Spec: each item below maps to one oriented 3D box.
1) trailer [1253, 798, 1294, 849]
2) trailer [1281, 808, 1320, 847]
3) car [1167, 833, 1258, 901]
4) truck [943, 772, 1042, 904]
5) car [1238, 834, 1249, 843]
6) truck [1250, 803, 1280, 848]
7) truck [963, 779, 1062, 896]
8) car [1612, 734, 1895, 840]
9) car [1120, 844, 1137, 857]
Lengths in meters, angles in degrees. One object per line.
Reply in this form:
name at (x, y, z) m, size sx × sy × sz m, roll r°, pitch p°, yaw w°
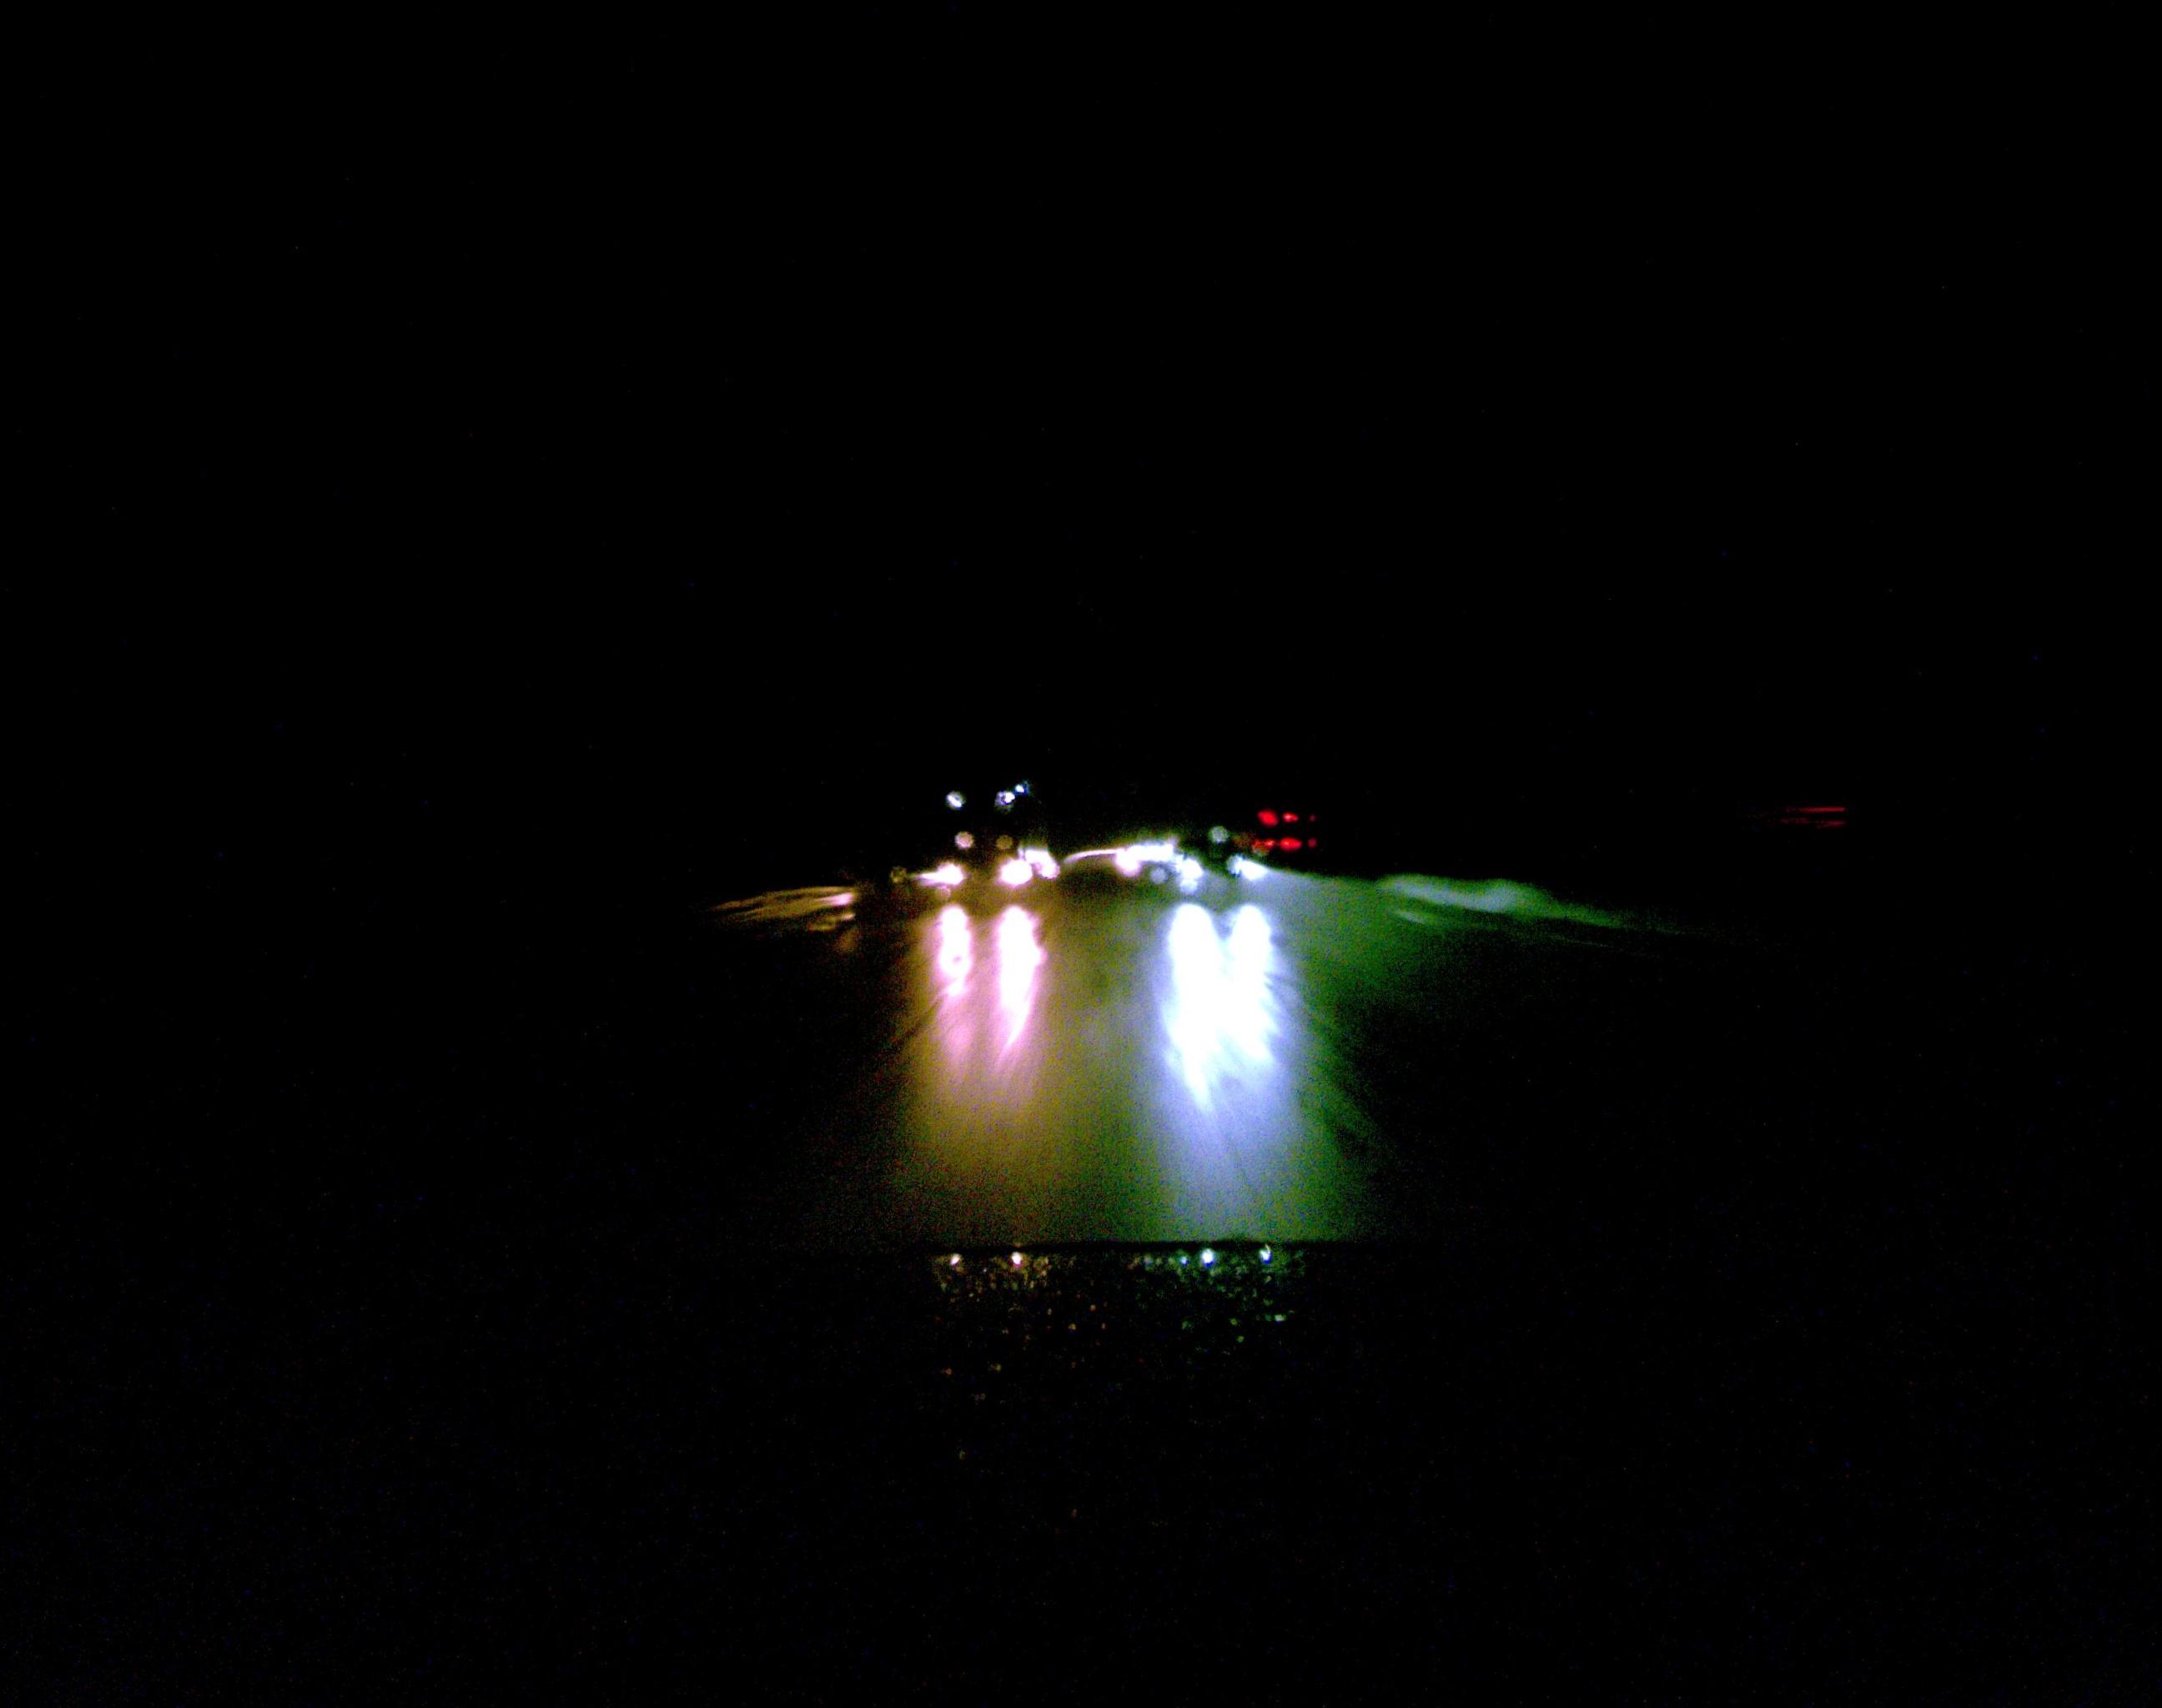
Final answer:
trailer at (24.445, -3.744, 97.136) m, size 2.915 × 5.861 × 14.175 m, roll -2°, pitch 1°, yaw 6°
trailer at (30.471, -3.595, 106.148) m, size 2.780 × 4.947 × 14.110 m, roll -2°, pitch 1°, yaw 6°
car at (4.103, 0.333, 24.676) m, size 2.142 × 1.874 × 5.555 m, roll -2°, pitch 1°, yaw 2°
truck at (-3.068, -0.577, 28.005) m, size 2.503 × 4.223 × 5.982 m, roll -2°, pitch 1°, yaw 3°
car at (41.912, -4.006, 196.250) m, size 2.178 × 2.427 × 4.938 m, roll -2°, pitch 1°, yaw 7°
truck at (25.186, -3.907, 104.364) m, size 2.910 × 5.861 × 6.880 m, roll -2°, pitch 1°, yaw 6°
truck at (-2.720, -0.739, 35.007) m, size 2.502 × 4.223 × 13.642 m, roll -2°, pitch 1°, yaw 3°
car at (16.491, -1.504, 19.208) m, size 2.149 × 2.150 × 5.544 m, roll -2°, pitch 0°, yaw -1°
car at (6.428, -0.495, 101.851) m, size 1.997 × 1.553 × 4.647 m, roll -2°, pitch 1°, yaw 7°
